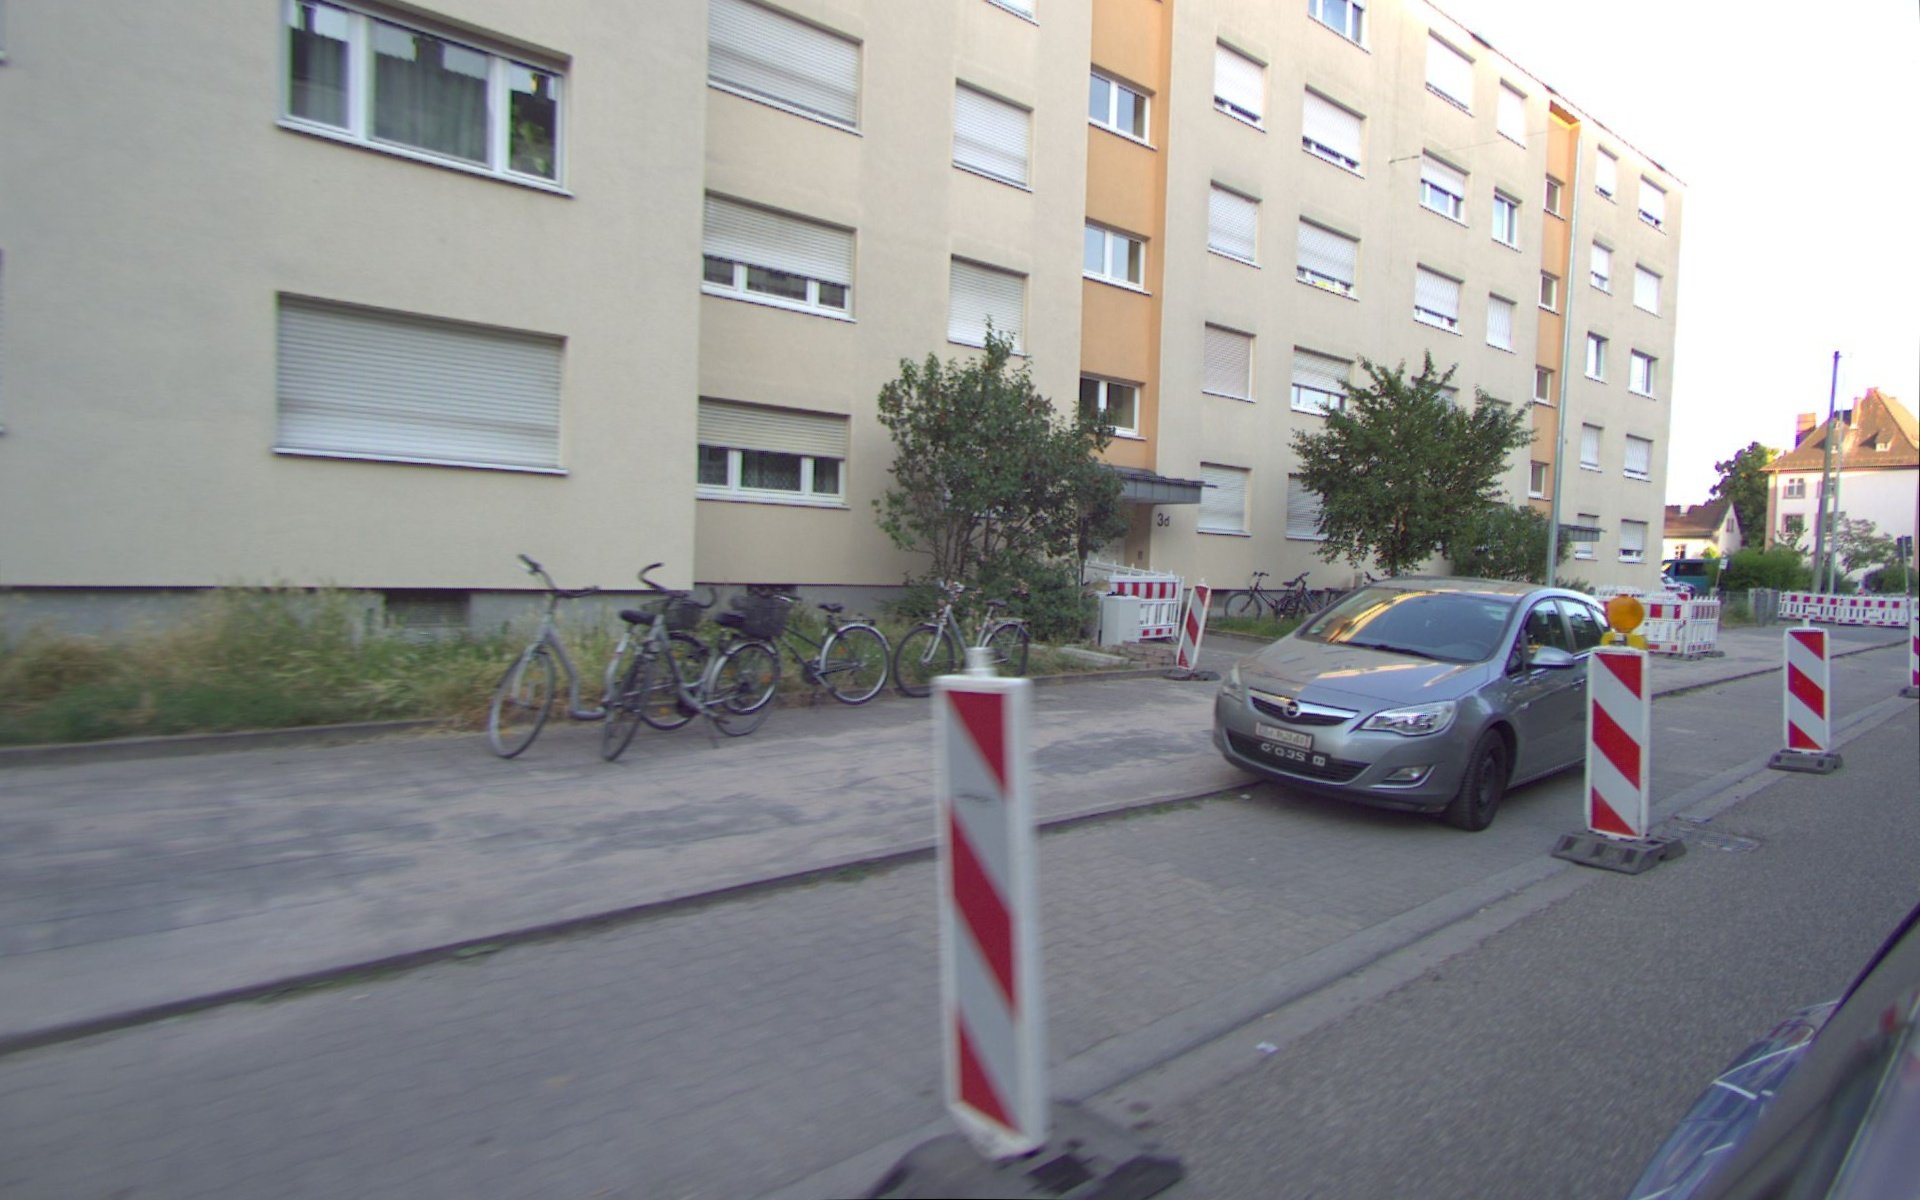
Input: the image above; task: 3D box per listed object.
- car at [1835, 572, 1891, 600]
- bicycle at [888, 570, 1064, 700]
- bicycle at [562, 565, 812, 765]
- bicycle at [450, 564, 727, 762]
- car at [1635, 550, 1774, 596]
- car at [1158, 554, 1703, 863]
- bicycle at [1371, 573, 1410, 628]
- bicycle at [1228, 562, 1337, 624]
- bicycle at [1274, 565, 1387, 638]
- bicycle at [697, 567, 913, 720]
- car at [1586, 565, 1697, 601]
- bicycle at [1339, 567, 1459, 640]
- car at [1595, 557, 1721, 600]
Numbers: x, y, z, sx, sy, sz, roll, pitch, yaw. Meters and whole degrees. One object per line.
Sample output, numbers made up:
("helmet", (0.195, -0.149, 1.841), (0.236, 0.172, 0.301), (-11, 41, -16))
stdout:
("car", (56.846, -0.912, 63.701), (4.723, 1.650, 1.919), (0, 3, -40))
("bicycle", (0.185, 0.309, 10.069), (1.783, 1.186, 0.557), (0, 2, -38))
("bicycle", (-1.801, 0.370, 6.967), (0.553, 1.186, 1.798), (2, 2, 29))
("bicycle", (-2.506, 0.363, 7.042), (0.623, 1.186, 1.796), (2, 2, 33))
("car", (37.082, -1.398, 50.548), (2.245, 2.156, 5.042), (0, 2, -32))
("car", (3.653, 0.538, 7.453), (4.492, 1.508, 1.782), (0, 6, -40))
("bicycle", (8.215, -0.018, 19.361), (0.551, 0.874, 1.605), (6, 7, 21))
("bicycle", (5.981, -0.141, 18.864), (1.787, 0.931, 0.557), (5, 6, 9))
("bicycle", (6.228, 0.003, 17.107), (0.547, 0.998, 1.763), (0, 7, -31))
("bicycle", (-1.302, 0.332, 8.711), (1.783, 1.186, 0.557), (0, 2, -38))
("car", (31.014, -0.795, 46.121), (1.664, 1.470, 3.842), (0, 3, -38))
("bicycle", (7.753, 0.034, 17.940), (0.548, 1.034, 1.817), (-1, 8, -39))
("car", (32.954, -1.054, 47.873), (1.968, 1.832, 4.492), (0, 3, -38))
